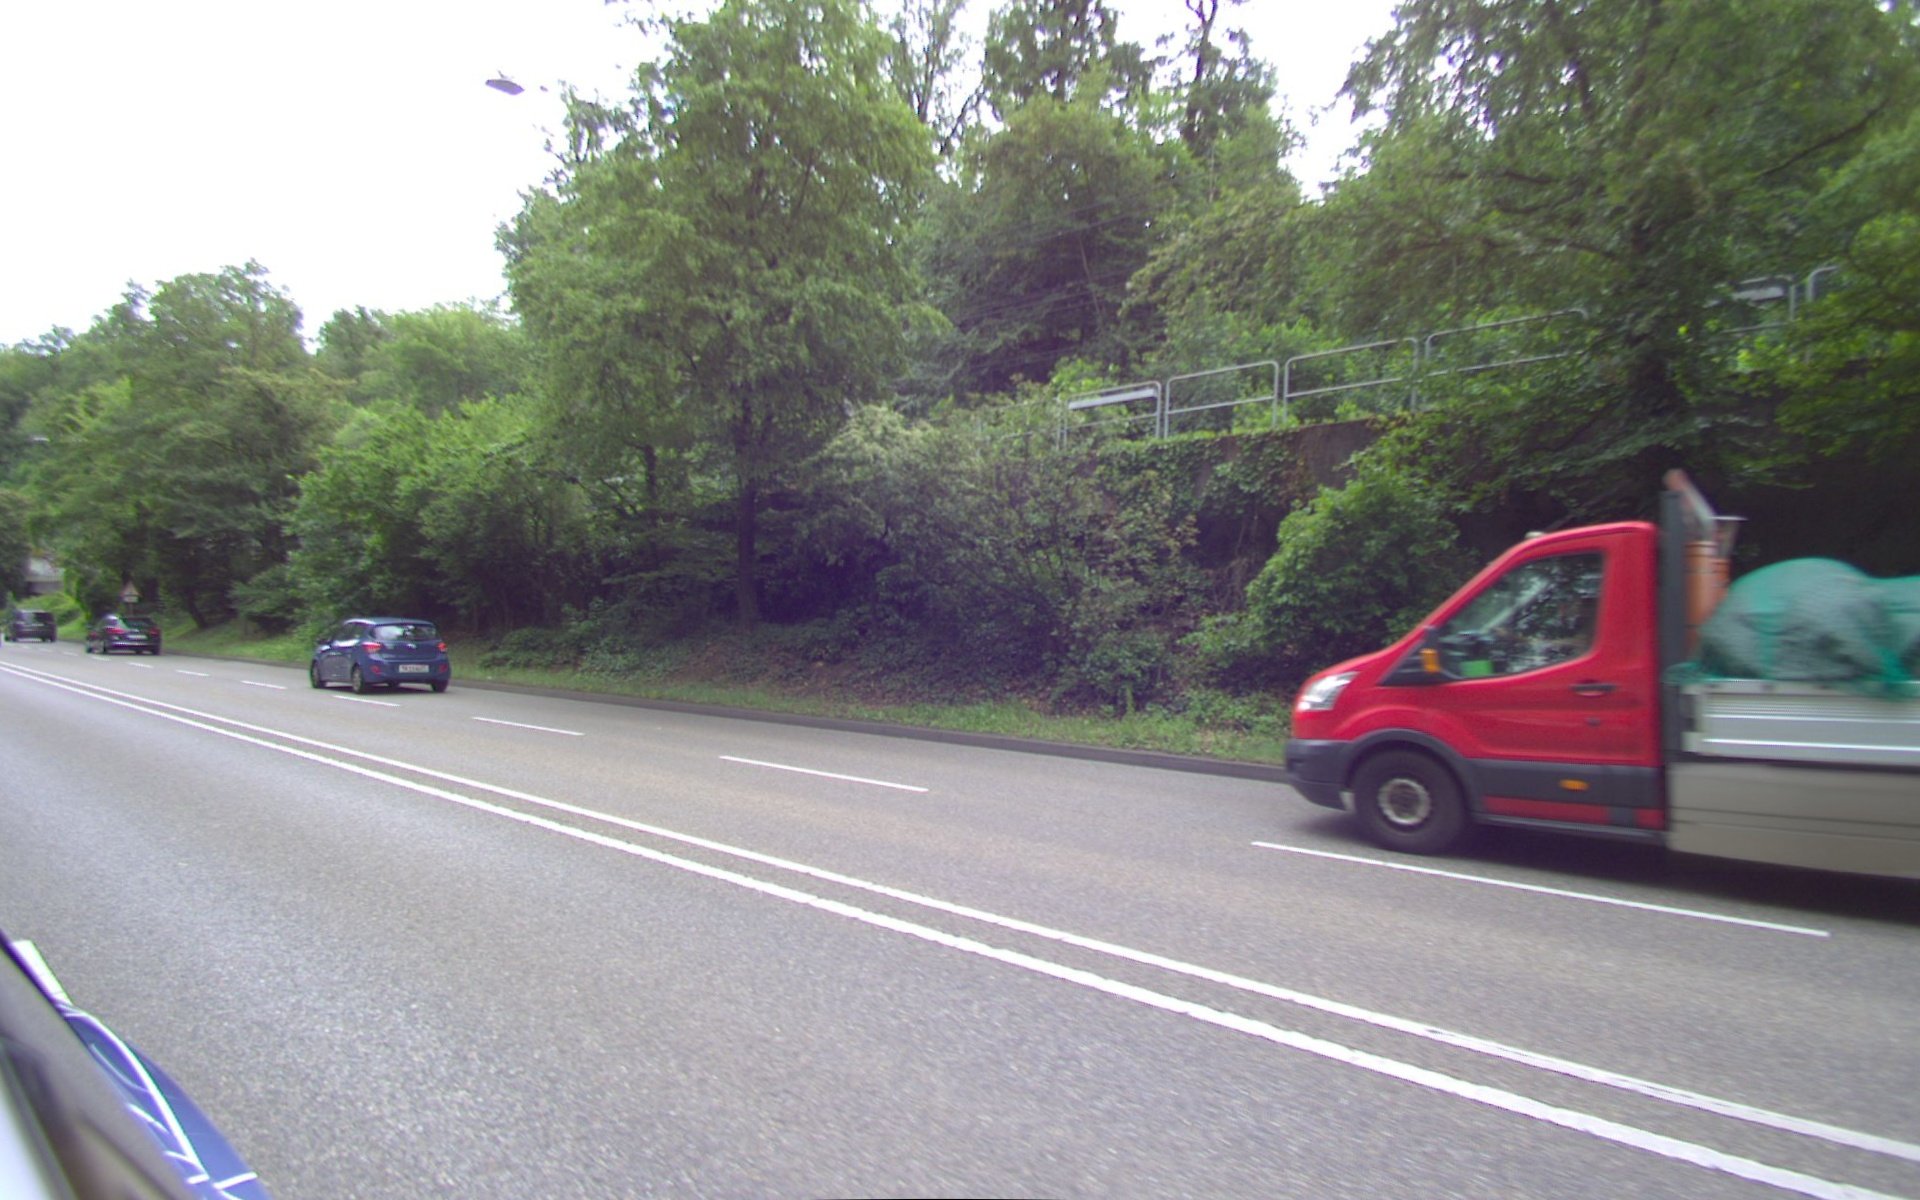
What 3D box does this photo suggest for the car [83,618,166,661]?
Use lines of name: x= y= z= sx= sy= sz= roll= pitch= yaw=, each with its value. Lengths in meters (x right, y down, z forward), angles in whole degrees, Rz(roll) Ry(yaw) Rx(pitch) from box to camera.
car: x=-31.979 y=1.501 z=38.686 sx=4.431 sy=1.522 sz=1.714 roll=0 pitch=-3 yaw=41

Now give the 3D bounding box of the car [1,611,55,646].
car: x=-50.953 y=1.564 z=55.289 sx=4.133 sy=1.786 sz=1.641 roll=0 pitch=-3 yaw=41

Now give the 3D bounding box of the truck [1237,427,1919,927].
truck: x=5.131 y=0.435 z=5.960 sx=6.465 sy=2.429 sz=2.153 roll=0 pitch=-4 yaw=43

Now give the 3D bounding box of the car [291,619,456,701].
car: x=-12.170 y=1.182 z=20.916 sx=3.997 sy=1.497 sz=1.653 roll=0 pitch=-3 yaw=40
